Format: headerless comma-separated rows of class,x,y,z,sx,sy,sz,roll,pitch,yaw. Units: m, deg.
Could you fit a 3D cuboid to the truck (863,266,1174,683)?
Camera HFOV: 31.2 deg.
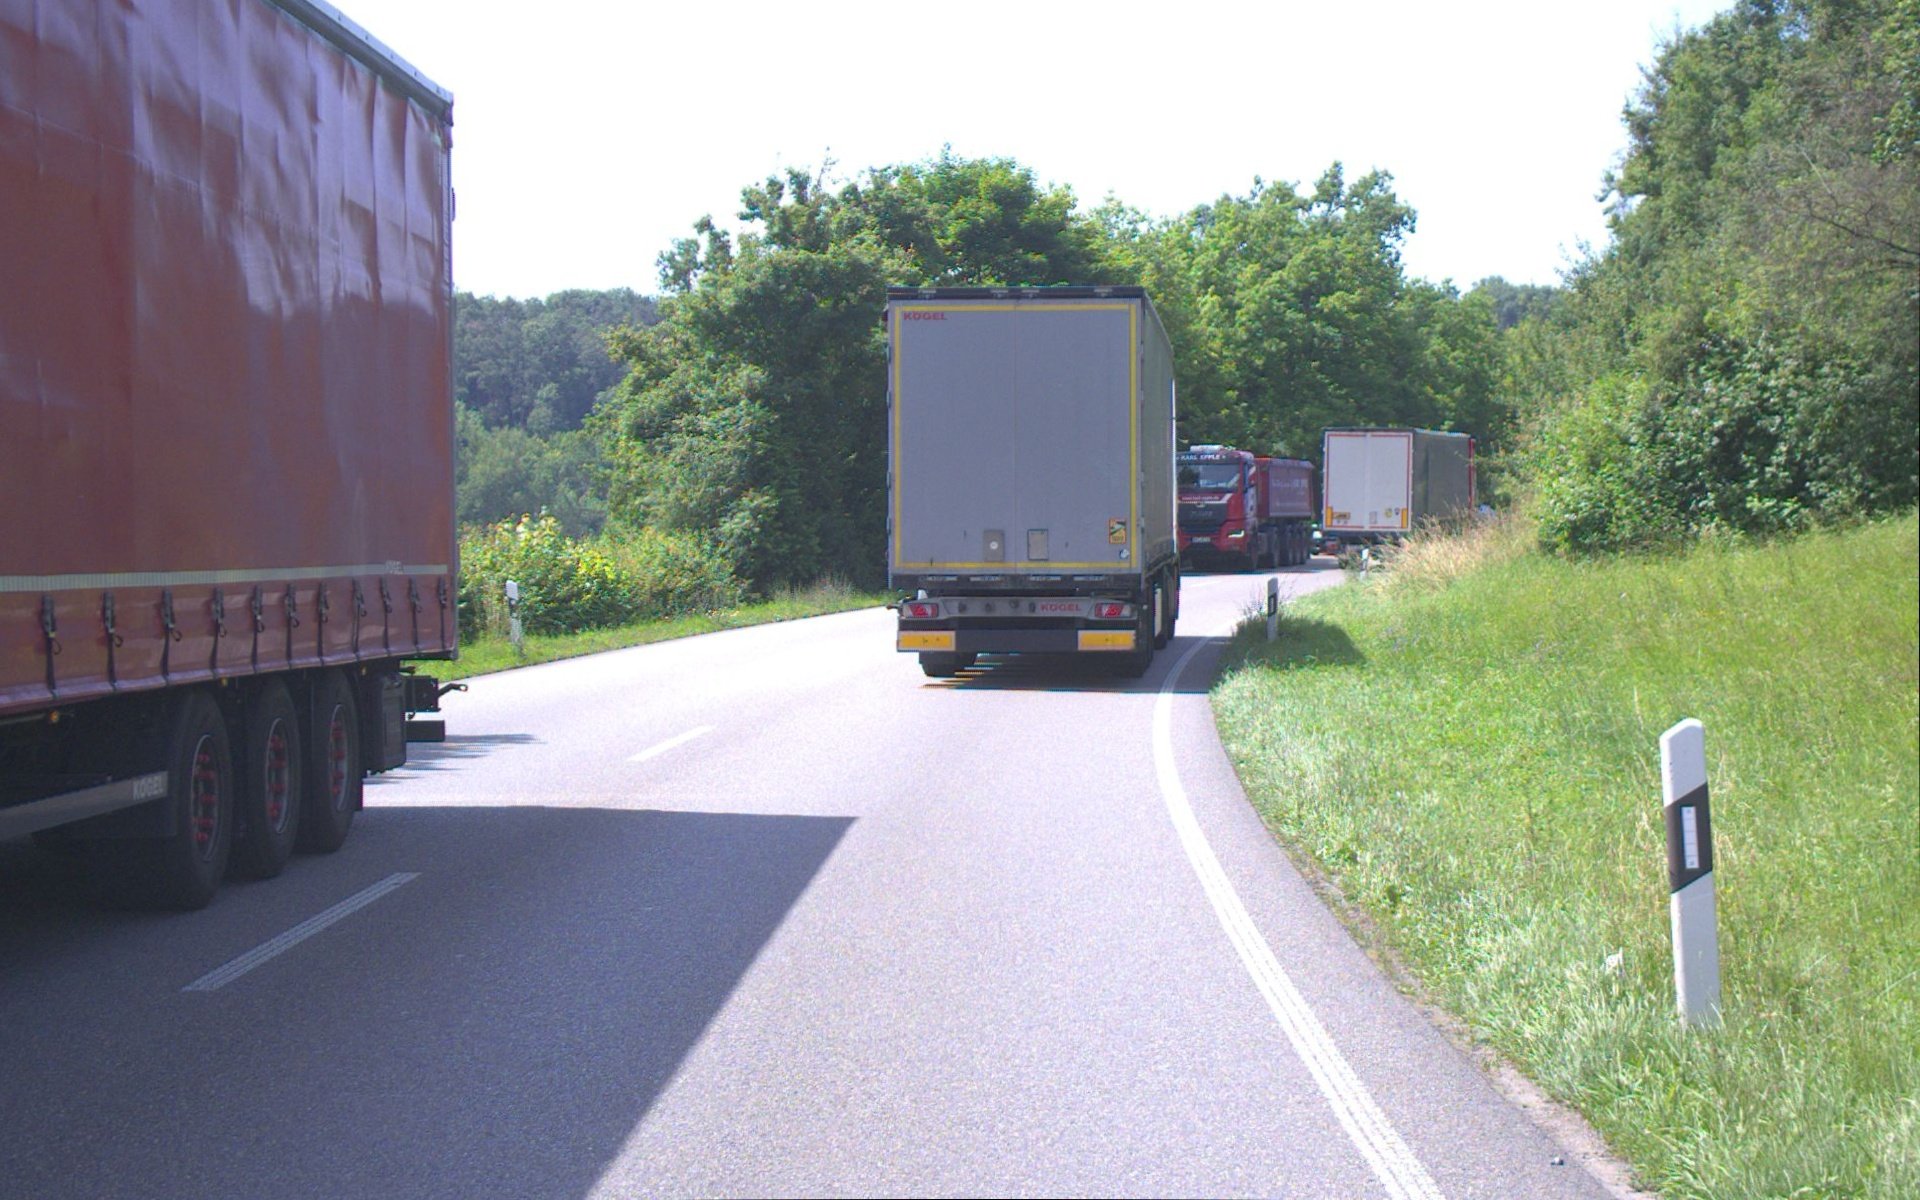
truck,1.045,-1.377,41.458,2.802,4.054,15.323,1,1,4

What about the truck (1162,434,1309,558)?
truck,8.310,-3.041,102.184,2.554,3.440,12.627,0,1,13

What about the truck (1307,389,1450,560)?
truck,12.817,-3.885,103.884,3.106,4.689,16.583,-1,2,11

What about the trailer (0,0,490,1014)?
trailer,-4.268,-0.765,13.122,2.568,4.094,13.662,0,1,2
